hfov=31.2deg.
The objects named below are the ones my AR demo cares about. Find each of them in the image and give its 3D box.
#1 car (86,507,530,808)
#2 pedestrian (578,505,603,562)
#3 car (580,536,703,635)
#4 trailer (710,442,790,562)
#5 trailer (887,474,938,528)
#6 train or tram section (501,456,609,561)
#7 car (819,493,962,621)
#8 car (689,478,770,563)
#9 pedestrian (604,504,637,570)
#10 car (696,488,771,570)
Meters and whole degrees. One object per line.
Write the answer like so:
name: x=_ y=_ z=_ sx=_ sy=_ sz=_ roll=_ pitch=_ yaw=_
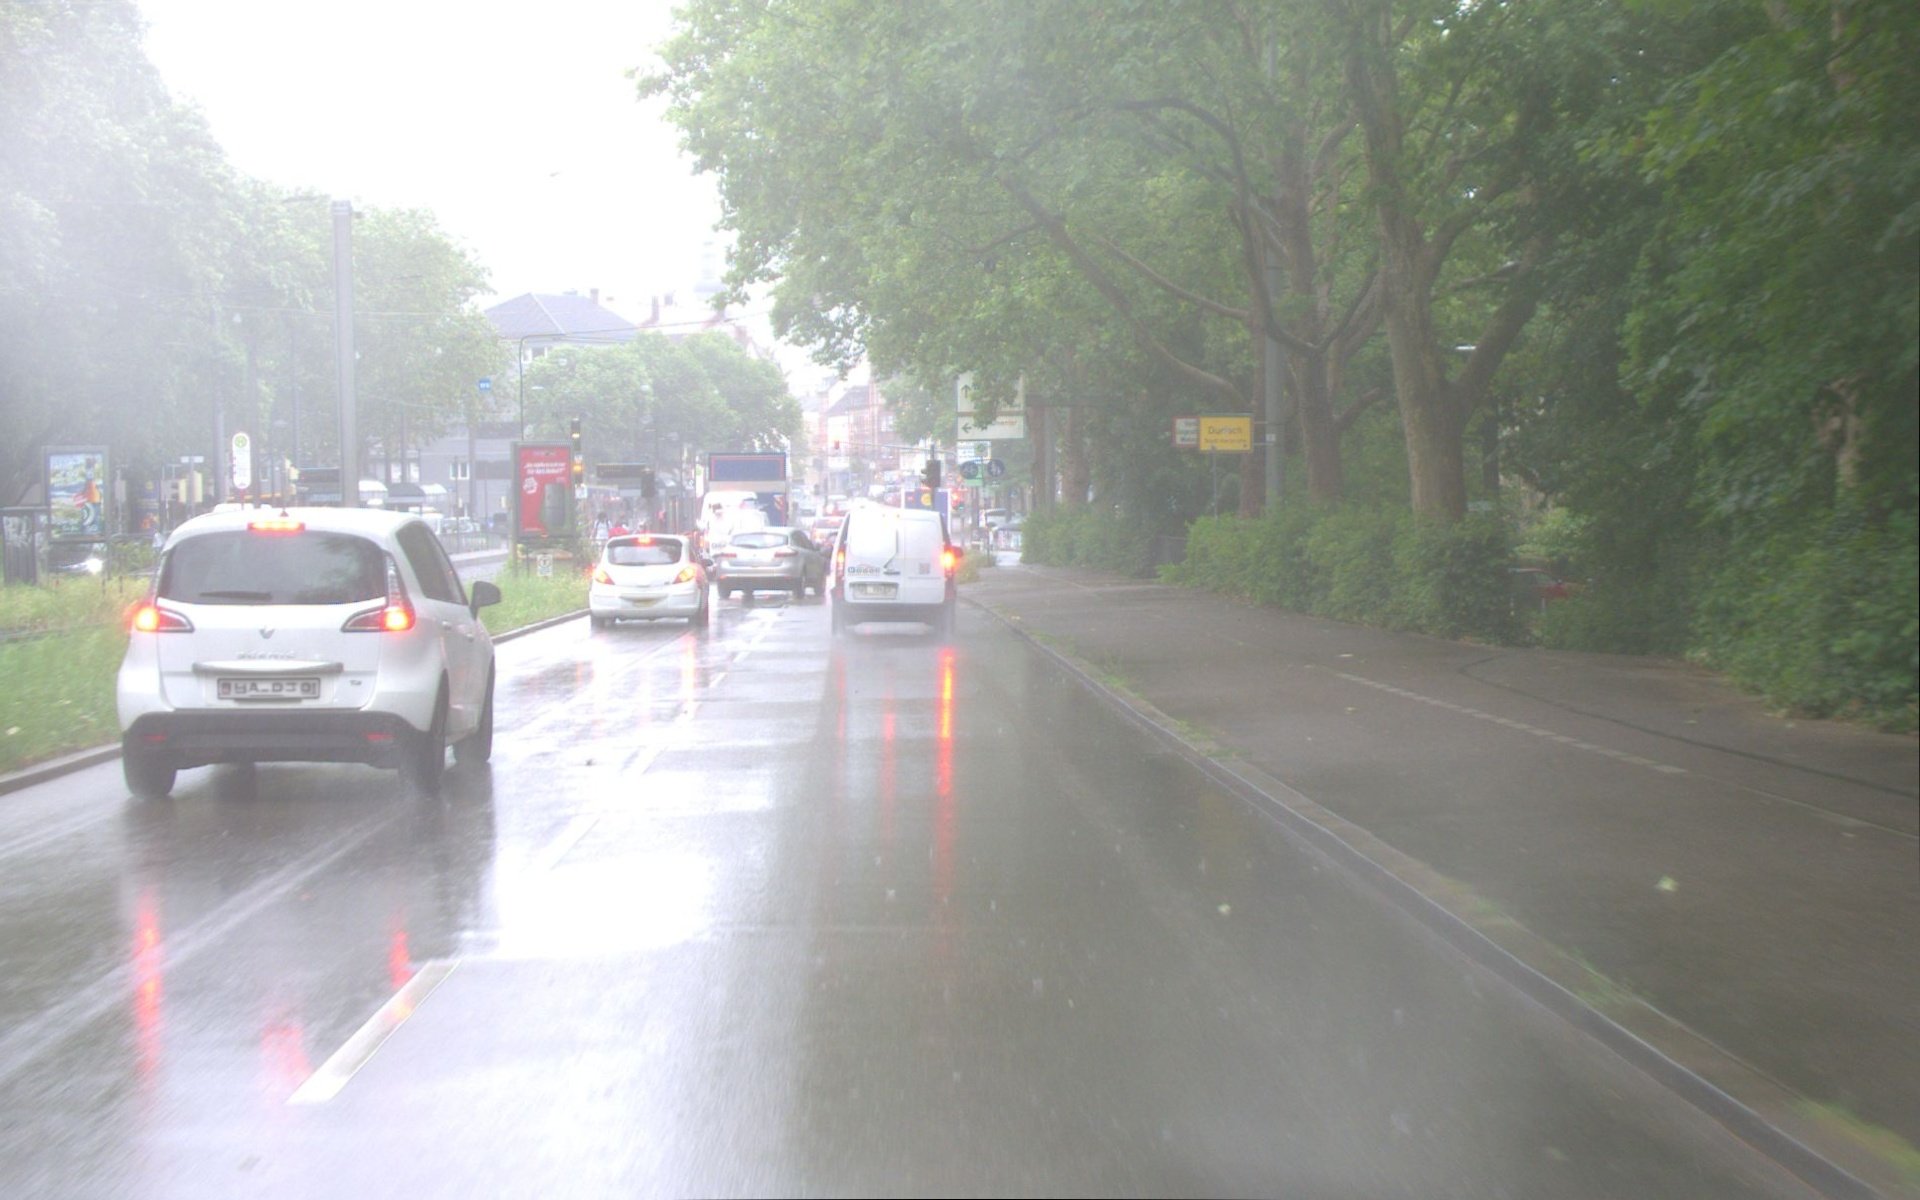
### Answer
car: x=-3.791 y=0.274 z=20.711 sx=1.864 sy=1.618 sz=4.263 roll=0 pitch=1 yaw=0
pedestrian: x=-11.280 y=-2.038 z=104.967 sx=0.715 sy=1.738 sz=0.751 roll=0 pitch=1 yaw=-3
car: x=-4.903 y=-0.227 z=53.273 sx=1.725 sy=1.474 sz=3.806 roll=0 pitch=0 yaw=-3
trailer: x=-7.079 y=-3.297 z=115.760 sx=2.590 sy=3.886 sz=7.637 roll=0 pitch=1 yaw=-4
trailer: x=-2.156 y=-4.426 z=153.787 sx=1.993 sy=2.309 sz=4.669 roll=0 pitch=0 yaw=-4
train or tram section: x=-13.375 y=-3.096 z=114.169 sx=2.961 sy=3.274 sz=8.362 roll=-2 pitch=2 yaw=-3
car: x=-1.035 y=-0.616 z=49.444 sx=1.959 sy=1.771 sz=3.570 roll=0 pitch=0 yaw=-3
car: x=-7.105 y=-2.420 z=106.607 sx=2.329 sy=2.548 sz=6.115 roll=0 pitch=0 yaw=-2
pedestrian: x=-8.974 y=-1.652 z=90.858 sx=0.790 sy=1.708 sz=0.771 roll=2 pitch=0 yaw=-3
car: x=-6.449 y=-1.996 z=98.188 sx=1.993 sy=2.254 sz=5.289 roll=0 pitch=0 yaw=-2
